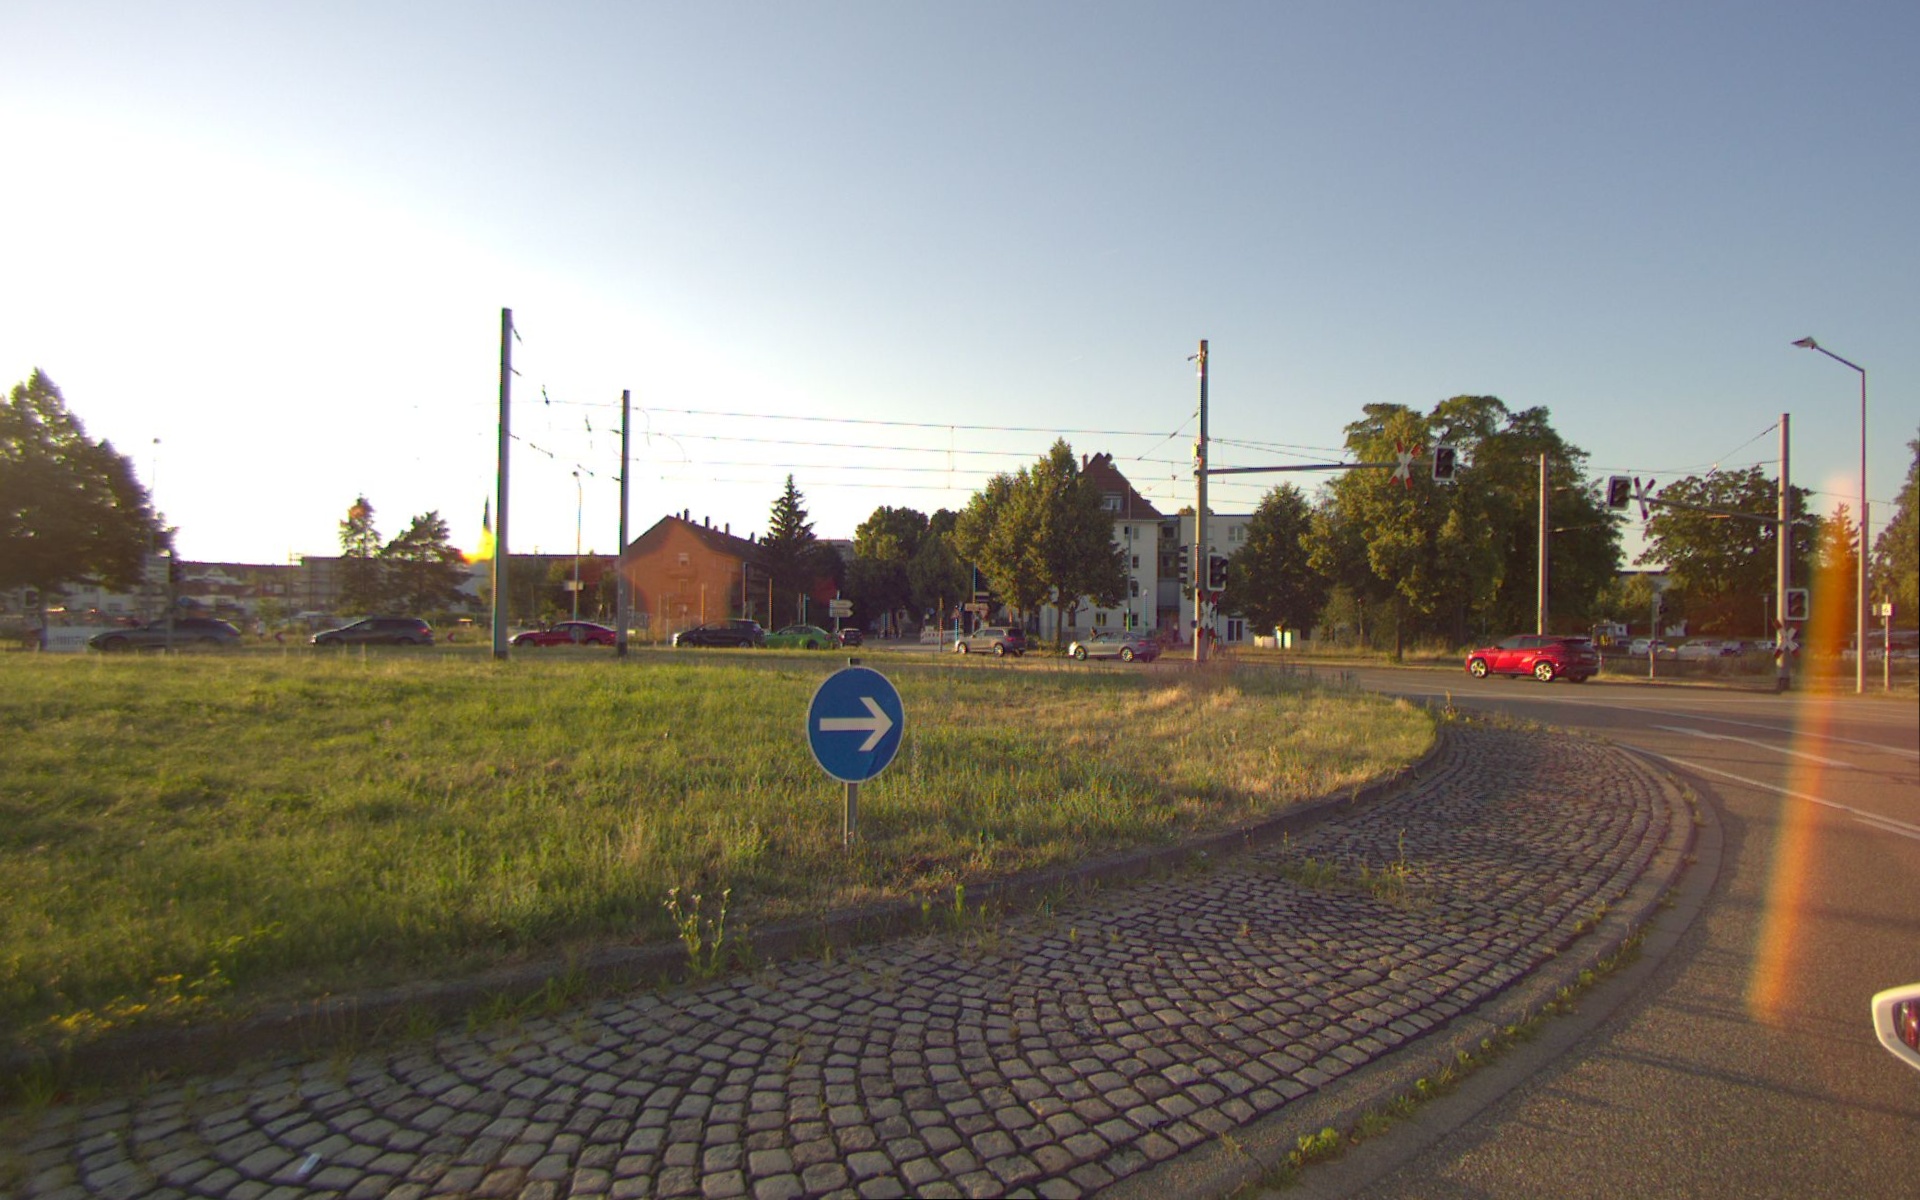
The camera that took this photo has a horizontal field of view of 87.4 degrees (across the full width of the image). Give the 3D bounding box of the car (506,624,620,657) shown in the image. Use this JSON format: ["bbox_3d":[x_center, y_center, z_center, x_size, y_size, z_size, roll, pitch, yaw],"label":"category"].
[{"bbox_3d":[-17.669,1.809,44.906,4.416,1.410,1.892,1,-1,-10],"label":"car"}]

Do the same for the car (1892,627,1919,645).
[{"bbox_3d":[107.470,4.050,112.576,3.919,2.040,2.001,1,-1,11],"label":"car"}]

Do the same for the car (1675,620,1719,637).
[{"bbox_3d":[93.224,3.613,127.012,4.033,2.040,2.001,1,-1,4],"label":"car"}]

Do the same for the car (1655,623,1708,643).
[{"bbox_3d":[80.246,3.667,111.723,4.507,2.040,2.000,1,-1,0],"label":"car"}]

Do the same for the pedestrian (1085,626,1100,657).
[{"bbox_3d":[8.512,2.657,64.417,0.614,1.918,0.662,2,0,-35],"label":"pedestrian"}]

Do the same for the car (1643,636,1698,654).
[{"bbox_3d":[69.226,4.348,97.916,3.919,1.684,1.904,1,-1,5],"label":"car"}]

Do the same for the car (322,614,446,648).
[{"bbox_3d":[-24.292,1.322,42.566,4.323,1.394,1.989,1,-1,-24],"label":"car"}]

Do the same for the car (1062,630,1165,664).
[{"bbox_3d":[7.272,2.186,47.842,4.603,1.483,1.877,0,-1,42],"label":"car"}]

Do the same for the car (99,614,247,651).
[{"bbox_3d":[-30.828,1.265,39.528,4.303,1.394,1.983,1,-1,-31],"label":"car"}]

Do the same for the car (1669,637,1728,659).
[{"bbox_3d":[59.529,3.865,81.024,1.960,1.625,4.002,1,-1,3],"label":"car"}]

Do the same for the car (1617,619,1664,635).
[{"bbox_3d":[86.273,3.406,127.422,4.505,2.040,2.001,1,-1,5],"label":"car"}]

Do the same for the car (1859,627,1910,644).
[{"bbox_3d":[108.050,4.151,117.428,3.919,1.840,2.001,1,-1,5],"label":"car"}]

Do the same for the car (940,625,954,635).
[{"bbox_3d":[-2.151,4.977,165.243,1.960,1.618,4.002,1,-1,5],"label":"car"}]

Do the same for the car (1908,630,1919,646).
[{"bbox_3d":[105.602,4.133,108.699,1.971,1.728,3.979,1,-1,-22],"label":"car"}]

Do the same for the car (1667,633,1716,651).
[{"bbox_3d":[73.177,4.207,100.560,3.934,1.684,1.994,0,-1,35],"label":"car"}]

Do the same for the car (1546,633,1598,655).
[{"bbox_3d":[49.428,3.560,81.216,1.960,1.625,4.002,1,-1,3],"label":"car"}]

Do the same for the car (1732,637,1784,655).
[{"bbox_3d":[77.362,4.438,97.398,3.938,1.684,1.894,0,-1,39],"label":"car"}]

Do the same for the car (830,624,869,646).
[{"bbox_3d":[-8.277,2.611,74.916,1.671,1.371,3.978,-7,0,-24],"label":"car"}]

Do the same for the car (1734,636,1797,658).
[{"bbox_3d":[64.029,3.732,79.916,1.960,1.625,4.002,1,-1,3],"label":"car"}]

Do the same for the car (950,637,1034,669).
[{"bbox_3d":[1.787,2.980,57.008,4.457,1.659,1.991,0,-1,40],"label":"car"}]

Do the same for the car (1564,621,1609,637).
[{"bbox_3d":[79.599,3.675,127.607,4.507,2.040,2.000,1,-1,0],"label":"car"}]

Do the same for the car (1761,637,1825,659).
[{"bbox_3d":[66.382,3.804,80.155,1.960,1.625,4.002,1,-1,3],"label":"car"}]

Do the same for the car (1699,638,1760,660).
[{"bbox_3d":[61.648,3.927,80.546,1.960,1.625,4.002,1,-1,3],"label":"car"}]

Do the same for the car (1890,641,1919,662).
[{"bbox_3d":[76.366,4.104,79.458,1.960,1.625,4.002,1,-1,3],"label":"car"}]

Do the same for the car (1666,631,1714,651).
[{"bbox_3d":[75.932,4.255,104.571,3.934,2.040,1.994,0,-1,35],"label":"car"}]

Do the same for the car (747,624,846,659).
[{"bbox_3d":[-7.991,2.015,49.276,4.394,1.600,2.001,1,-1,11],"label":"car"}]

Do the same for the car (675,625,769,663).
[{"bbox_3d":[-10.781,1.991,45.711,3.924,1.605,1.894,1,-1,-5],"label":"car"}]

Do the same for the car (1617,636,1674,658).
[{"bbox_3d":[54.770,3.717,80.323,1.960,1.625,4.002,1,-1,3],"label":"car"}]

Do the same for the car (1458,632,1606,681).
[{"bbox_3d":[20.494,1.984,36.181,1.971,1.594,4.393,1,-1,-22],"label":"car"}]

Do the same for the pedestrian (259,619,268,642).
[{"bbox_3d":[-40.586,1.797,58.545,0.392,1.325,0.426,1,-1,-30],"label":"pedestrian"}]
